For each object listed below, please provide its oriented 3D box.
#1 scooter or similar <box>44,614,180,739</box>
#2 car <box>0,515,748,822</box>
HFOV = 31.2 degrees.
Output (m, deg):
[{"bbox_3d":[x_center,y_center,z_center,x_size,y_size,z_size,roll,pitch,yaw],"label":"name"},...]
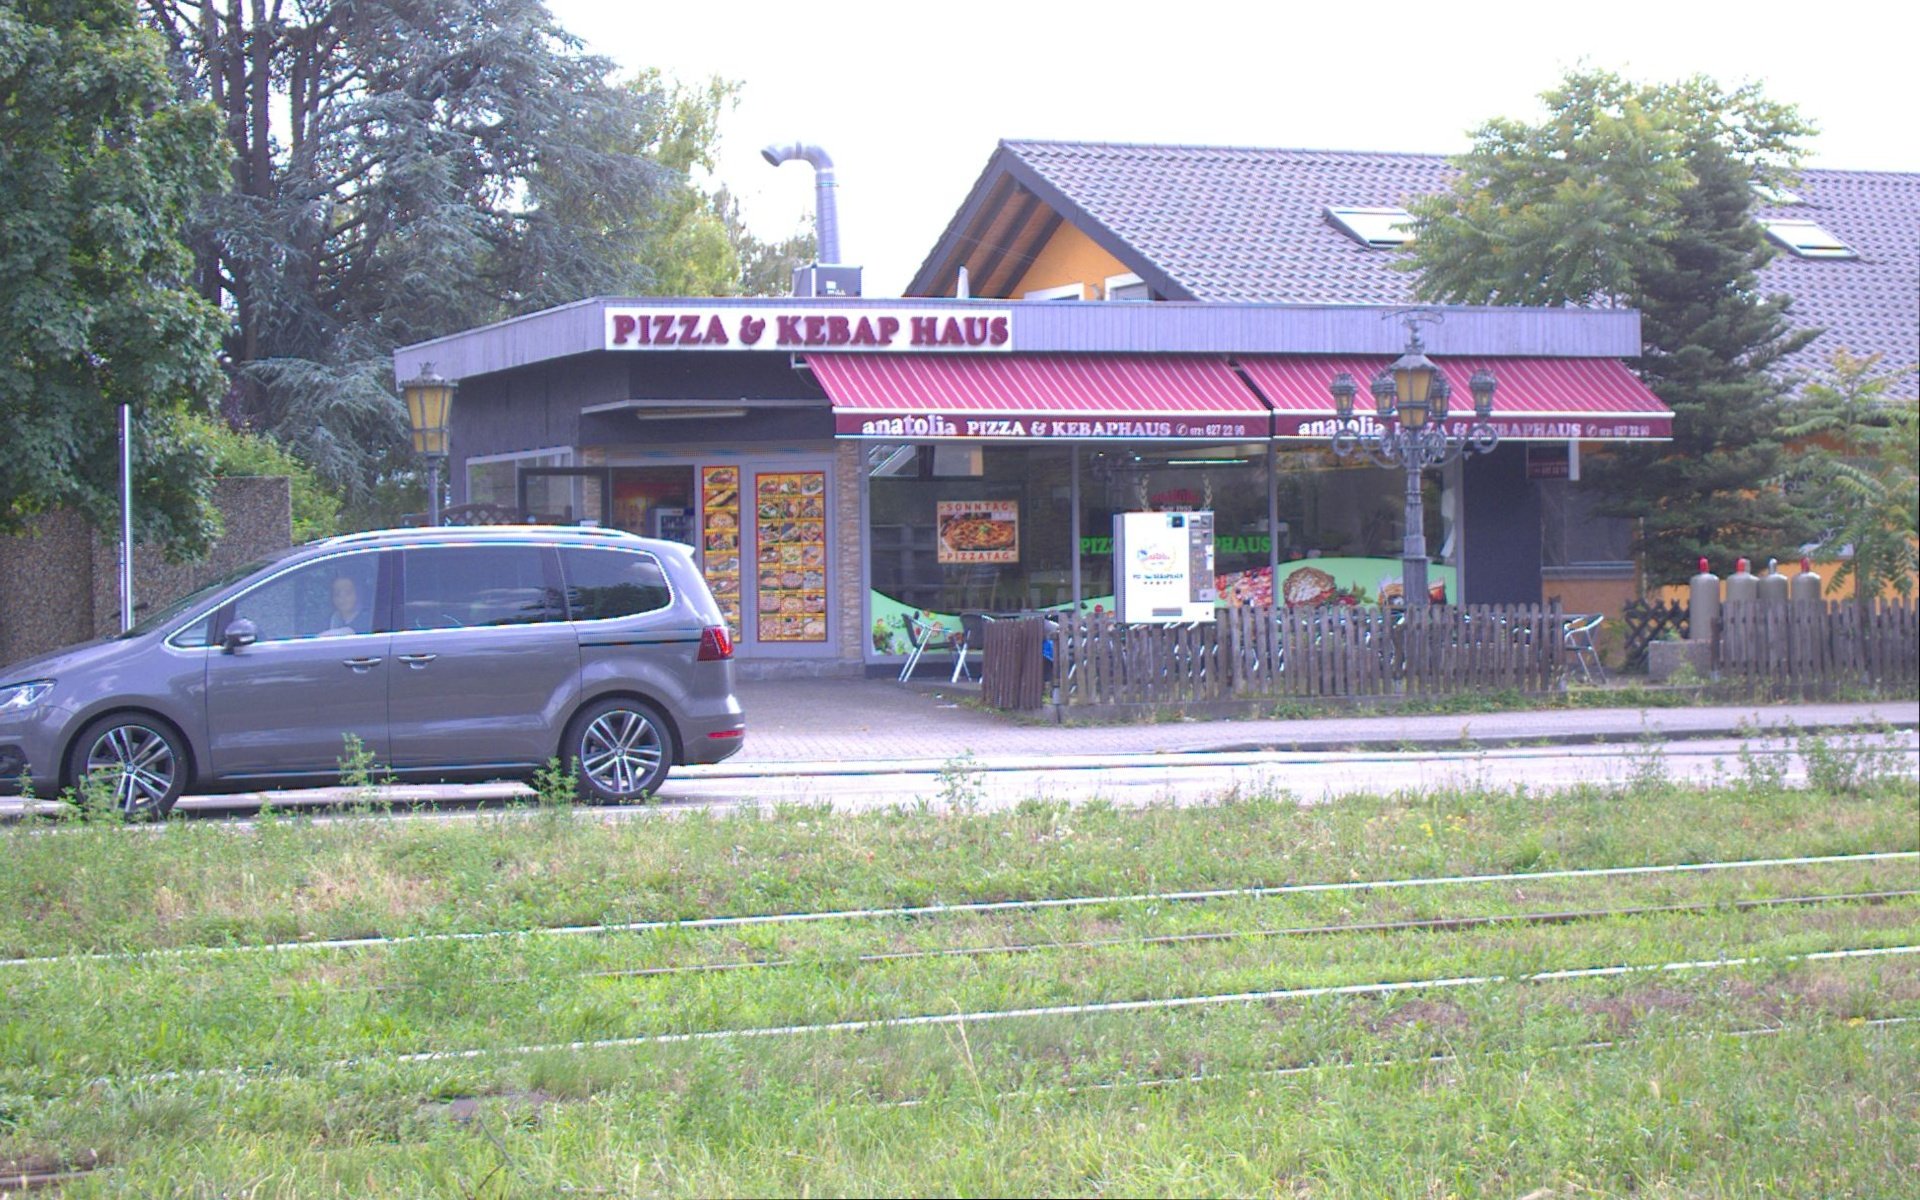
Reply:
[{"bbox_3d":[-7.360,0.664,29.851,1.100,1.056,0.402,1,2,-6],"label":"scooter or similar"},{"bbox_3d":[-3.859,0.365,21.156,4.723,1.716,2.001,-1,1,-19],"label":"car"}]
